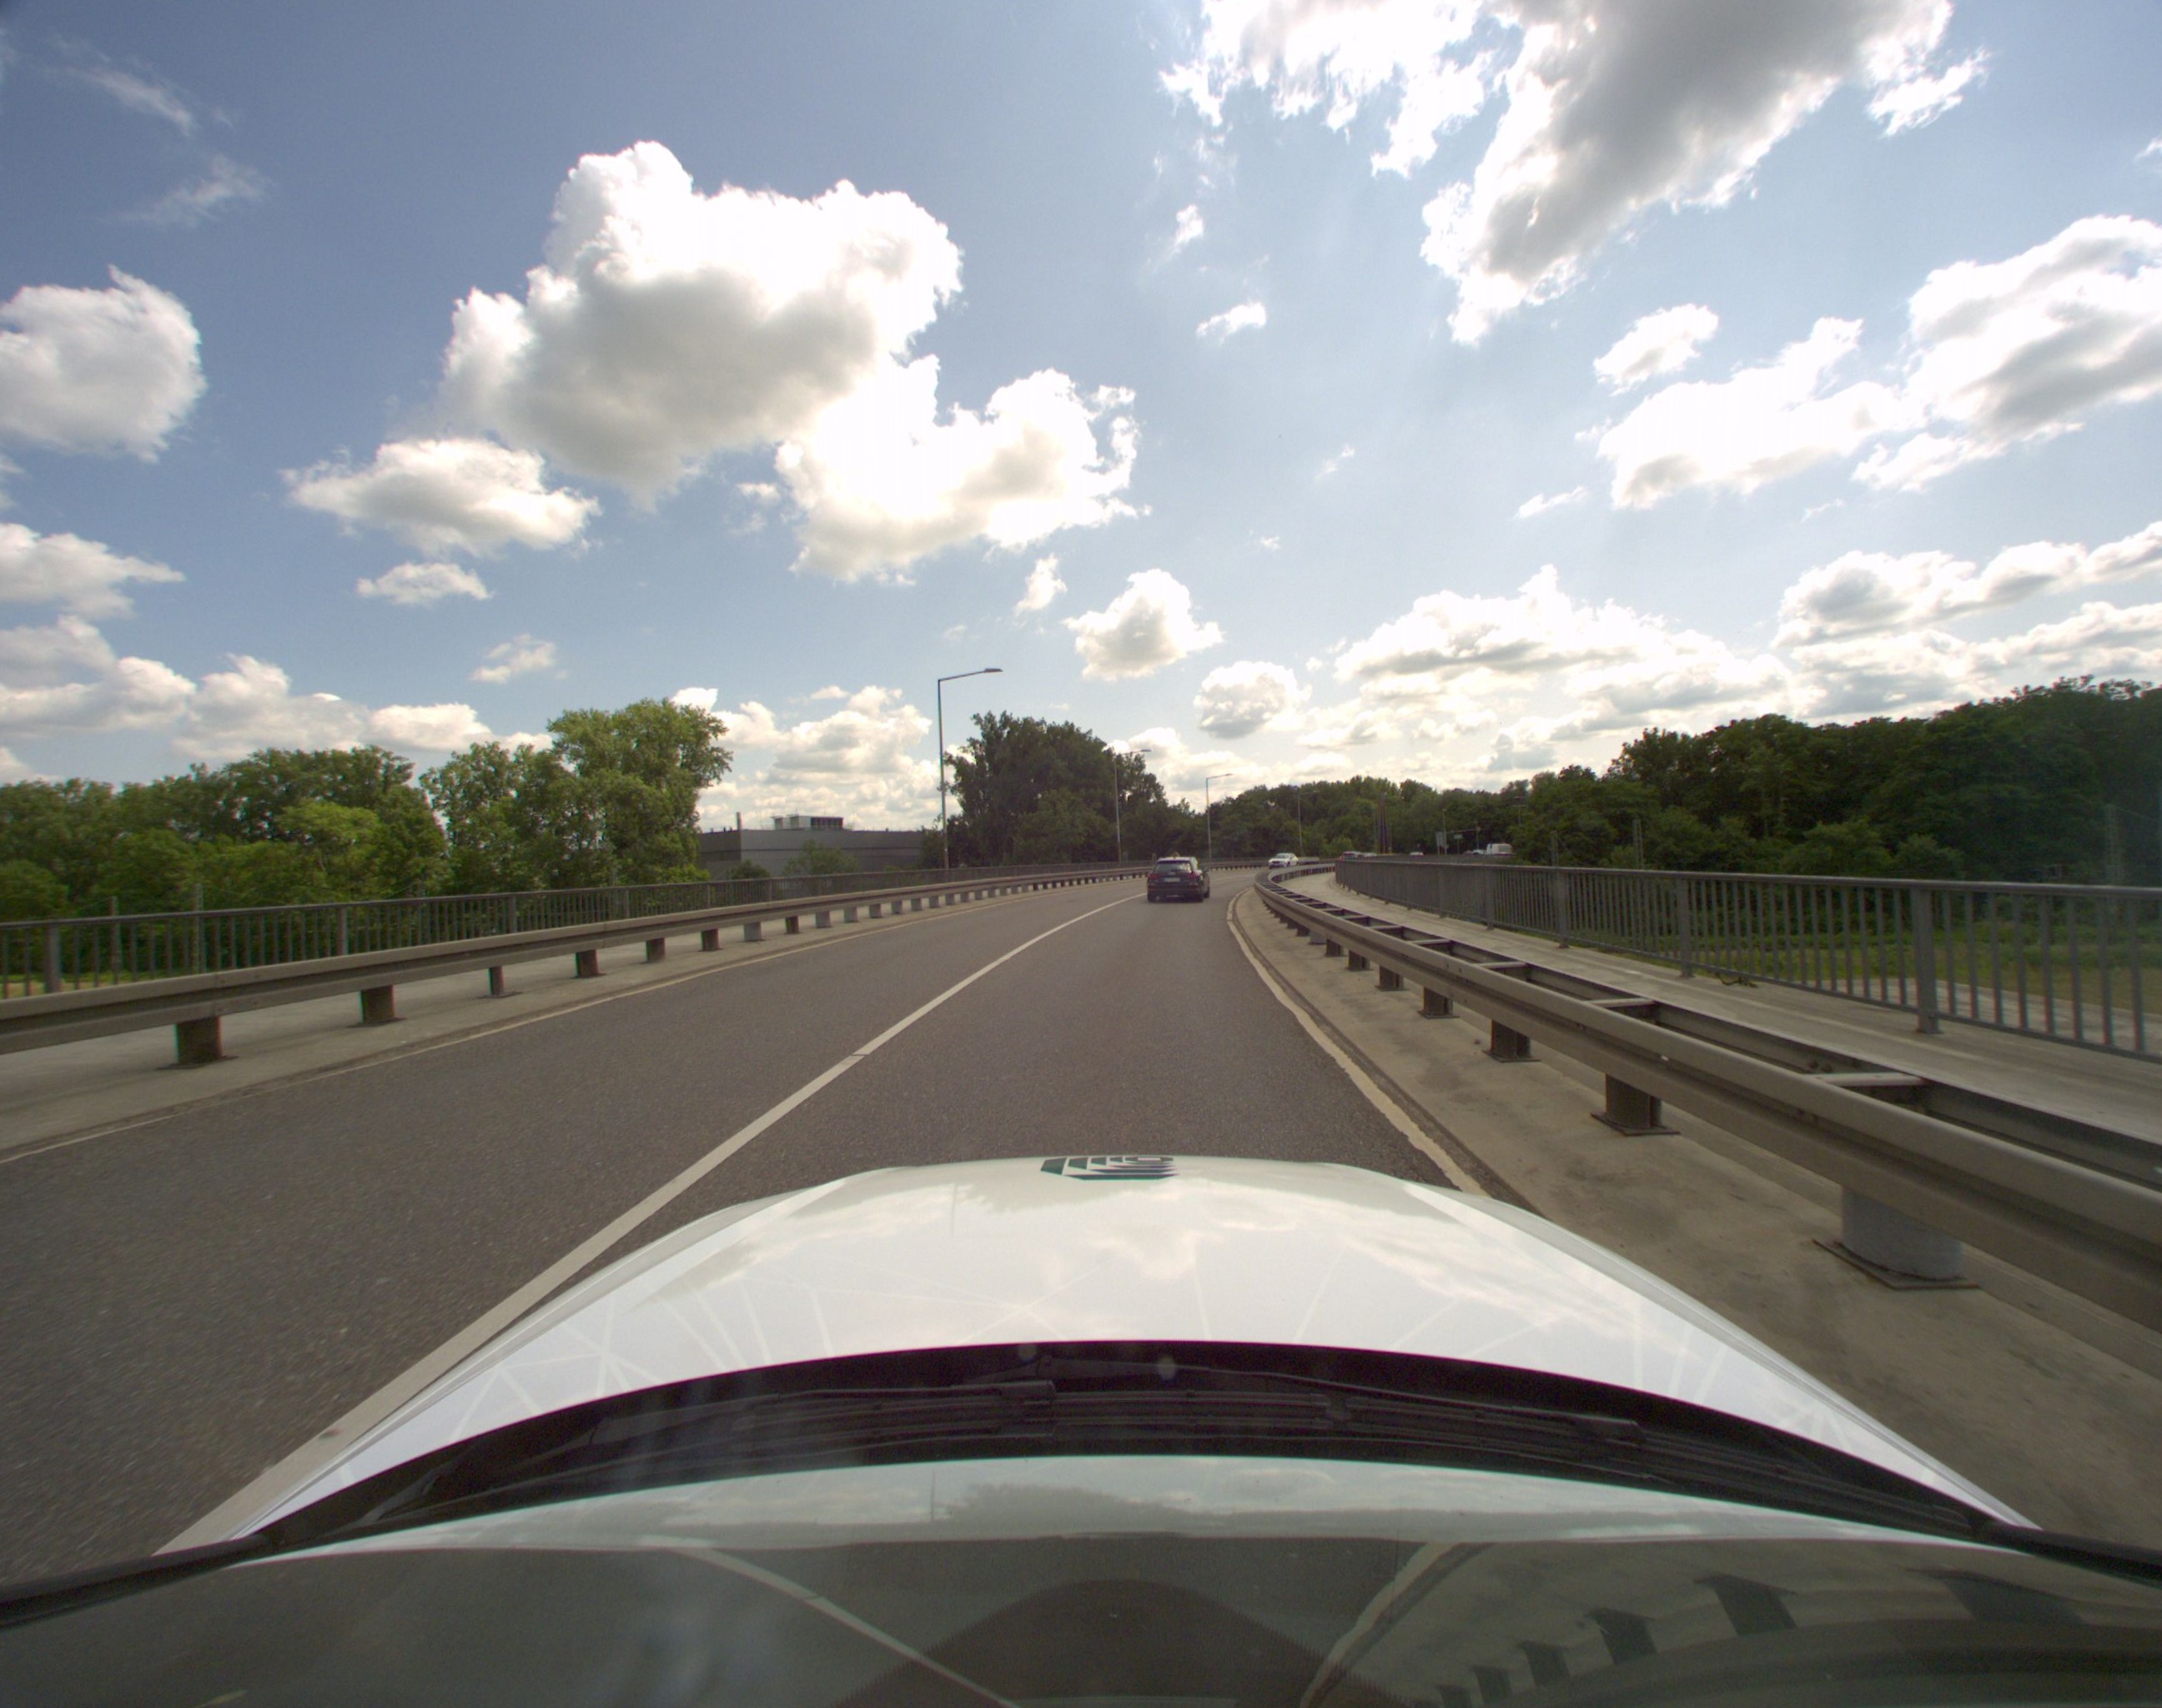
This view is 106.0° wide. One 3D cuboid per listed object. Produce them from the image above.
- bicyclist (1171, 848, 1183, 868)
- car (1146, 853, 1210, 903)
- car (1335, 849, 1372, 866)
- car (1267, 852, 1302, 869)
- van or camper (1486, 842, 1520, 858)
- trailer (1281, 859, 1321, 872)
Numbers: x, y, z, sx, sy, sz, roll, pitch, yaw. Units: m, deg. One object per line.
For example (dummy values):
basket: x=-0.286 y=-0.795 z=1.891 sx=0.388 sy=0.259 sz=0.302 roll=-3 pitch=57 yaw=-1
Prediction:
bicyclist: x=7.612 y=0.329 z=64.774 sx=0.761 sy=1.602 sz=0.952 roll=-1 pitch=-1 yaw=17
car: x=3.313 y=0.733 z=27.267 sx=1.816 sy=1.491 sz=4.219 roll=-2 pitch=0 yaw=10
car: x=26.091 y=0.324 z=77.987 sx=1.805 sy=1.651 sz=3.878 roll=0 pitch=0 yaw=45
car: x=18.945 y=0.584 z=75.721 sx=1.789 sy=1.535 sz=4.376 roll=-1 pitch=0 yaw=33
van or camper: x=61.800 y=-0.563 z=119.231 sx=5.263 sy=2.340 sz=2.255 roll=0 pitch=0 yaw=-35
trailer: x=21.713 y=1.119 z=80.142 sx=2.025 sy=1.209 sz=6.021 roll=0 pitch=0 yaw=33
